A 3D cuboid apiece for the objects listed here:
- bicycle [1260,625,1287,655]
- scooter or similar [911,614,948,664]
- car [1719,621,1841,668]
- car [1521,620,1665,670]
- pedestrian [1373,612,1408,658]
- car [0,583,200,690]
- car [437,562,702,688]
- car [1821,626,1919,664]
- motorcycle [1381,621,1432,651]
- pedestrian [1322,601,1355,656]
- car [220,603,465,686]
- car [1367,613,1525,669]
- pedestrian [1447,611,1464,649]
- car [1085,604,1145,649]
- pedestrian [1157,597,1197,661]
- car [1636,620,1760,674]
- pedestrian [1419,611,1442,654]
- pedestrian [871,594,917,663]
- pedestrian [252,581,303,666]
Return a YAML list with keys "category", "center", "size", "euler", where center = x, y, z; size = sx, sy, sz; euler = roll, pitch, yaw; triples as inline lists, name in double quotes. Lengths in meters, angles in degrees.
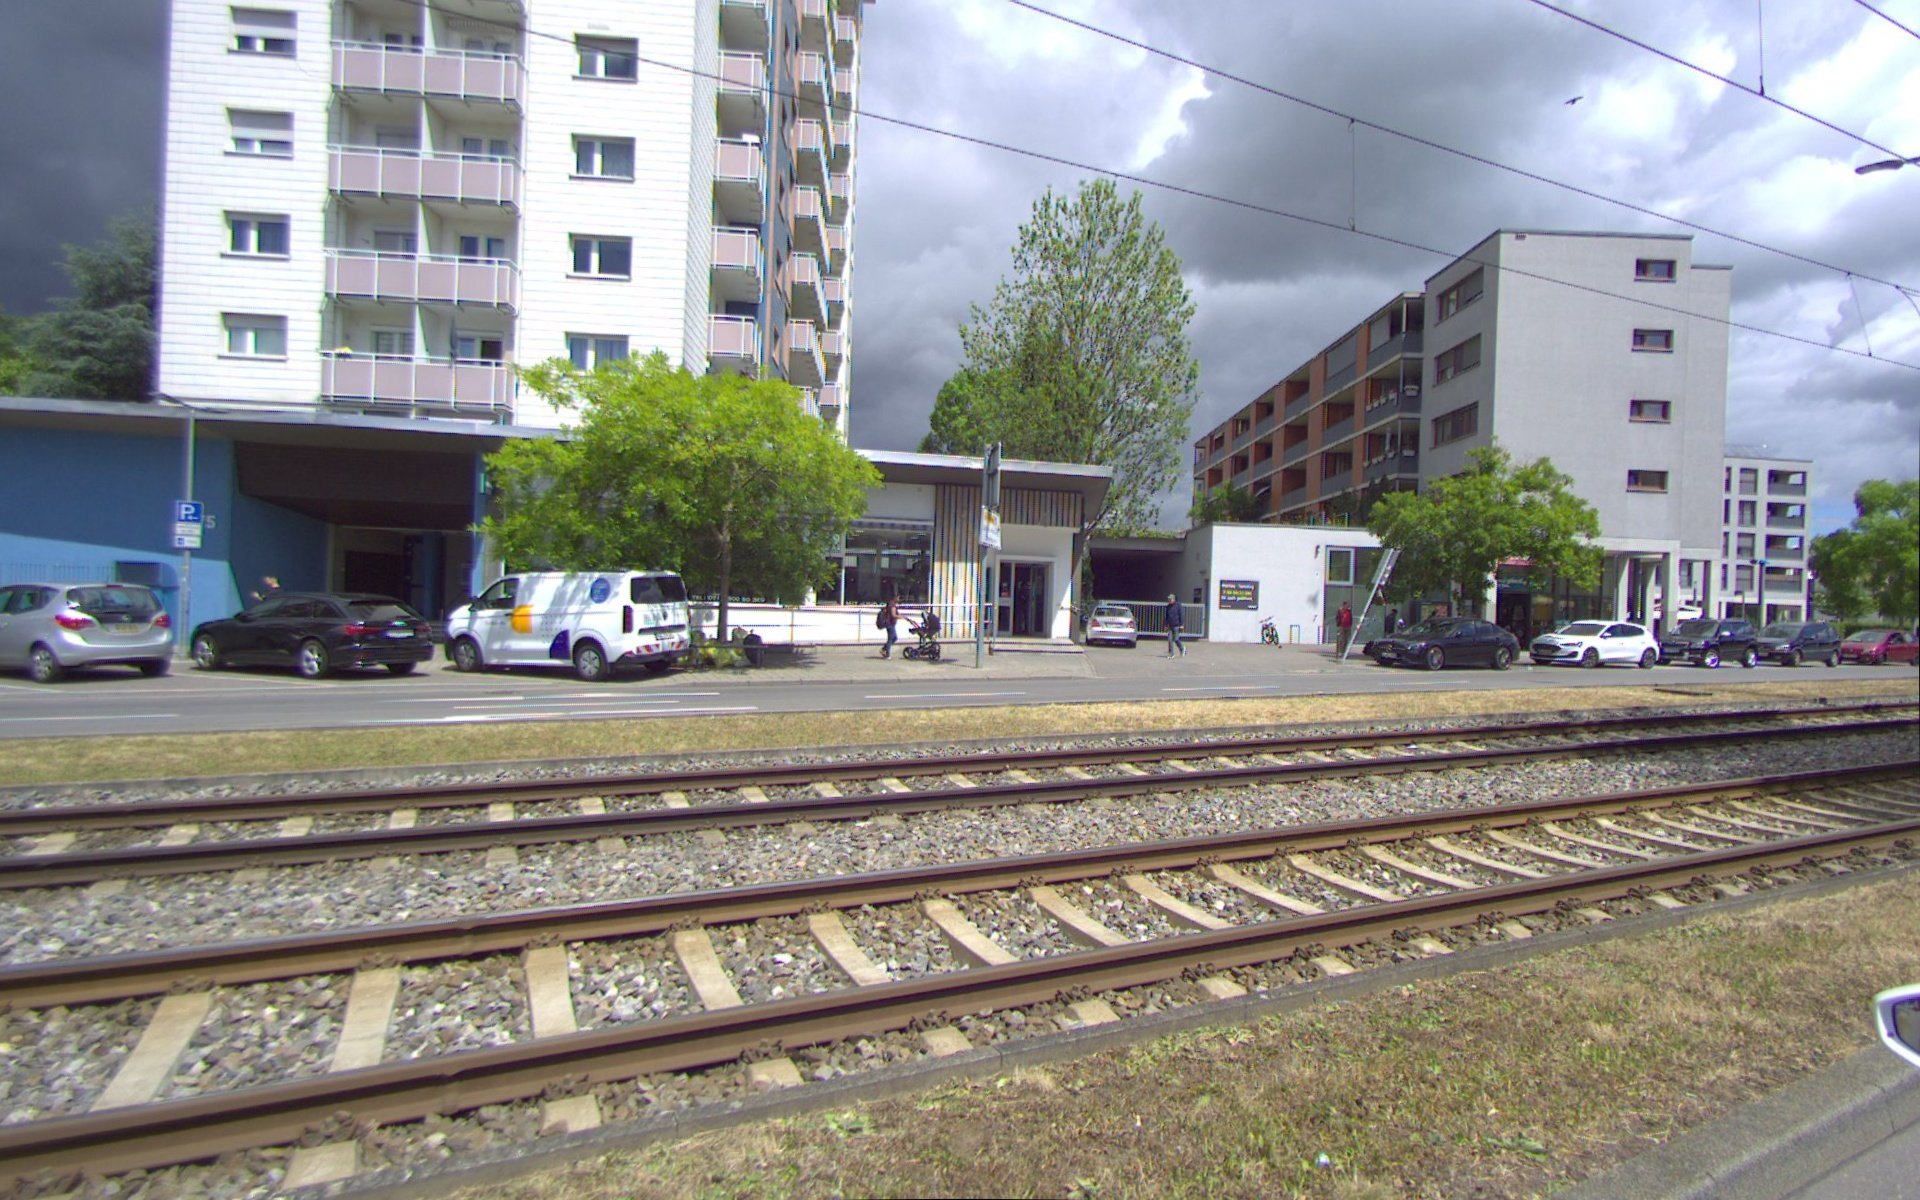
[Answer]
- category: "bicycle"
  center: [12.920, 1.635, 41.431]
  size: [0.656, 1.228, 1.974]
  euler: [0, -1, 4]
- category: "scooter or similar"
  center: [-0.733, 0.917, 24.068]
  size: [0.757, 1.140, 0.578]
  euler: [0, 3, -17]
- category: "car"
  center: [30.656, 1.632, 37.548]
  size: [4.044, 1.670, 1.988]
  euler: [1, -1, -25]
- category: "car"
  center: [20.237, 1.407, 32.118]
  size: [4.336, 1.495, 1.751]
  euler: [0, -1, -22]
- category: "pedestrian"
  center: [14.784, 1.196, 34.500]
  size: [0.957, 1.554, 0.601]
  euler: [0, -1, -15]
- category: "car"
  center: [-15.299, 0.593, 17.032]
  size: [3.920, 1.653, 1.907]
  euler: [0, -1, 17]
- category: "car"
  center: [-7.449, 0.465, 19.196]
  size: [4.669, 2.185, 1.906]
  euler: [0, -1, 21]
- category: "car"
  center: [36.803, 1.794, 40.620]
  size: [3.372, 1.445, 1.611]
  euler: [0, -1, -21]
- category: "motorcycle"
  center: [18.588, 1.494, 41.821]
  size: [0.732, 1.194, 1.883]
  euler: [0, -1, -29]
- category: "pedestrian"
  center: [12.517, 0.938, 33.210]
  size: [0.833, 1.816, 0.609]
  euler: [0, -1, -28]
- category: "car"
  center: [-11.434, 0.781, 18.638]
  size: [3.922, 1.402, 1.906]
  euler: [0, -1, 21]
- category: "car"
  center: [13.923, 1.145, 28.762]
  size: [4.321, 1.447, 1.729]
  euler: [1, 1, -25]
- category: "pedestrian"
  center: [19.402, 1.164, 39.329]
  size: [0.491, 1.479, 0.559]
  euler: [0, -1, 35]
- category: "car"
  center: [5.386, 0.905, 35.044]
  size: [1.959, 1.462, 4.359]
  euler: [0, -1, 8]
- category: "pedestrian"
  center: [6.227, 0.823, 28.801]
  size: [0.830, 1.816, 0.870]
  euler: [0, -1, 39]
- category: "car"
  center: [25.523, 1.569, 34.723]
  size: [4.051, 1.685, 1.984]
  euler: [0, 1, -30]
- category: "pedestrian"
  center: [17.480, 1.191, 37.339]
  size: [0.654, 1.594, 0.686]
  euler: [0, -1, 35]
- category: "pedestrian"
  center: [-1.568, 0.657, 23.800]
  size: [0.970, 1.593, 0.513]
  euler: [0, 3, -17]
- category: "pedestrian"
  center: [-15.322, 0.525, 22.549]
  size: [0.883, 1.845, 0.762]
  euler: [1, -1, -39]
